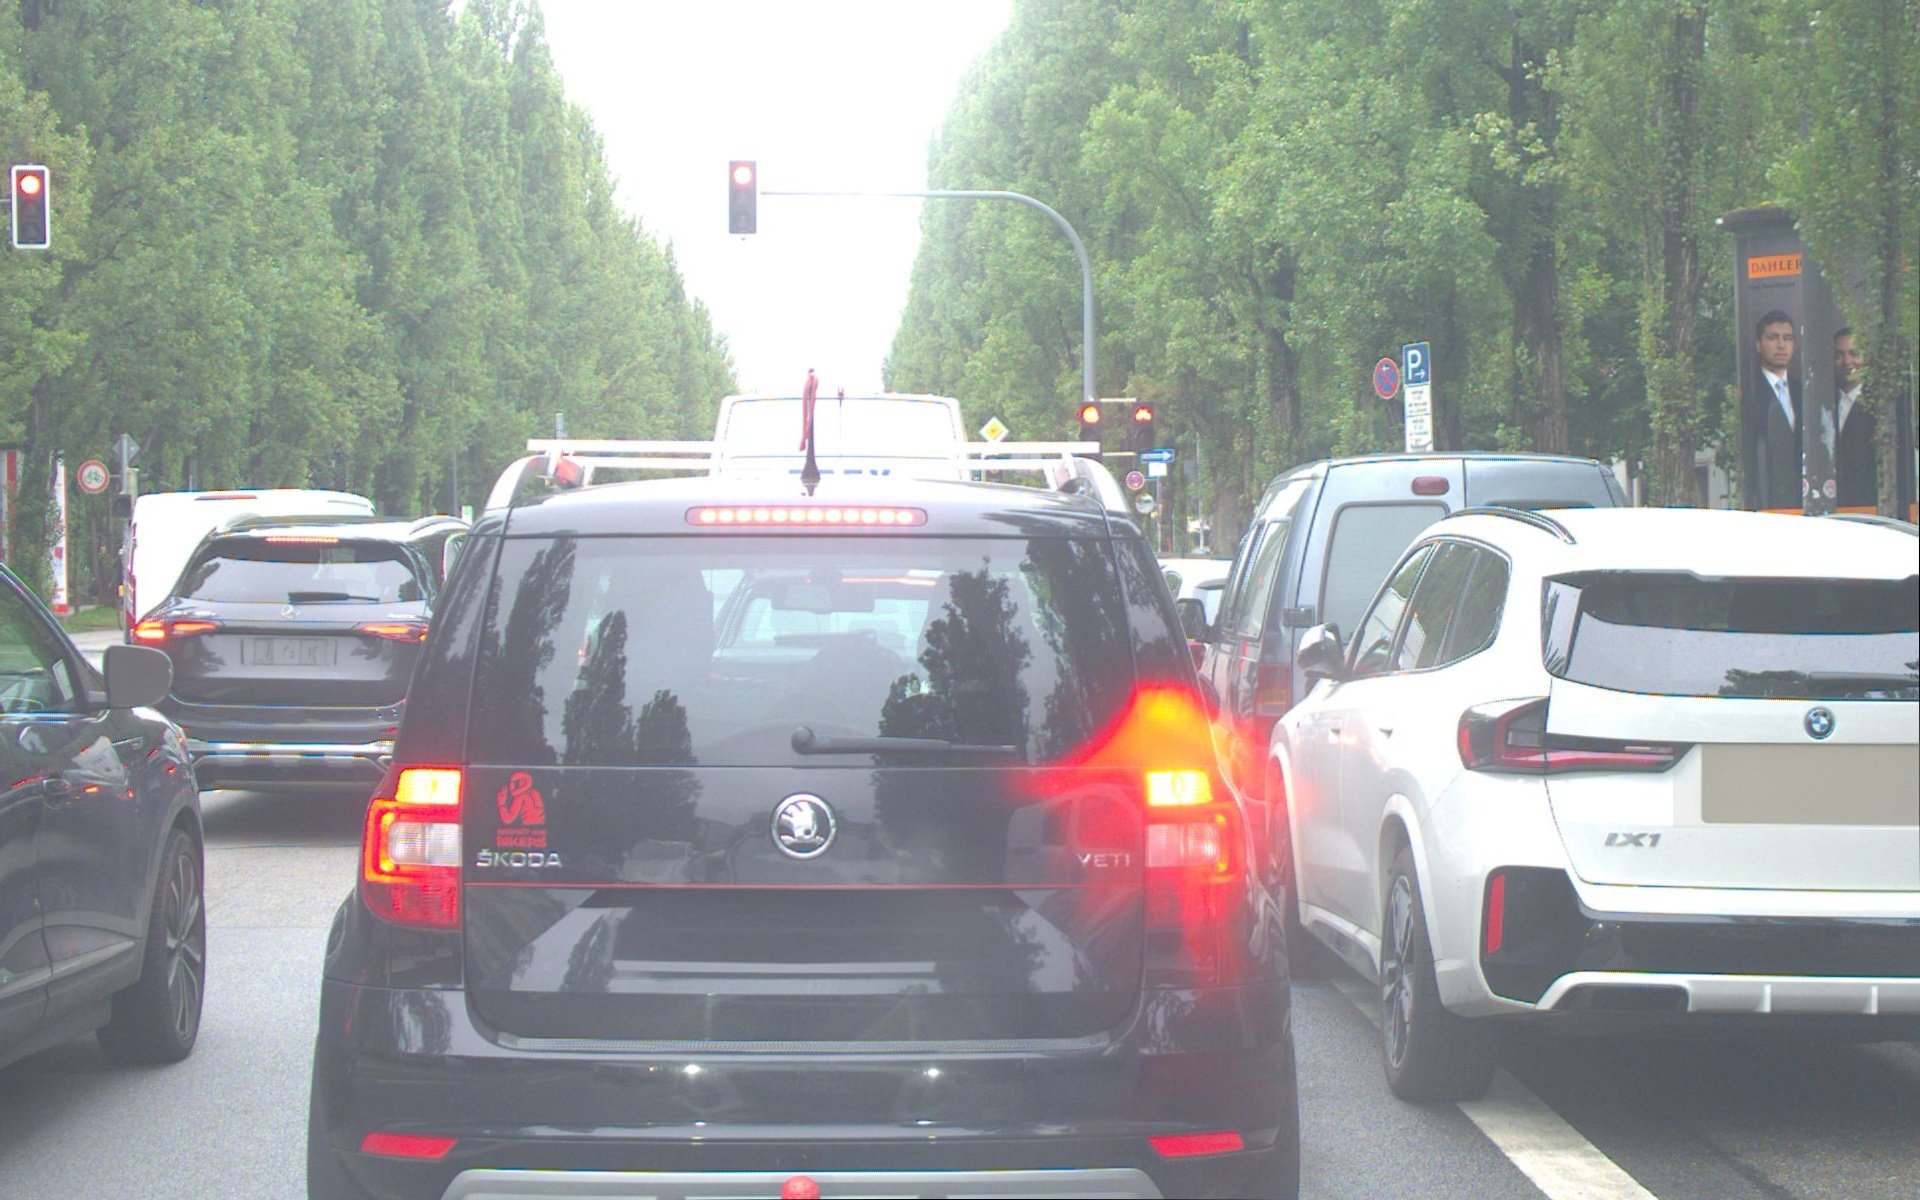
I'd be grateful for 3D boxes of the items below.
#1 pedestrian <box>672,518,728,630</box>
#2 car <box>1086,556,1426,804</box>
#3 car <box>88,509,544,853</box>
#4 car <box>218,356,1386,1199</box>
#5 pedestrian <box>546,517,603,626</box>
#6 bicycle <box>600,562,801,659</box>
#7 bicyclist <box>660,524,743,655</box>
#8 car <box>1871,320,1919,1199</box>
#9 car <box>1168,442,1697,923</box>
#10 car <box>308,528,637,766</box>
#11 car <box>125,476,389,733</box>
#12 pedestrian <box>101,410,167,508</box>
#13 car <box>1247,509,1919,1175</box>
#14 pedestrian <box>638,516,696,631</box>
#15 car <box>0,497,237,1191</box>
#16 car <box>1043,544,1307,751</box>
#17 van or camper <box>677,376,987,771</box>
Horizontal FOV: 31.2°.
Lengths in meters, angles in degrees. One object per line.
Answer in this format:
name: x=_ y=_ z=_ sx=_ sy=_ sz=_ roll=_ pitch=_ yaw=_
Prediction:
pedestrian: x=-4.716 y=-0.480 z=62.443 sx=0.885 sy=2.007 sz=1.013 roll=-1 pitch=1 yaw=2
car: x=1.784 y=0.442 z=21.746 sx=1.735 sy=1.382 sz=3.563 roll=-1 pitch=1 yaw=-2
car: x=-3.349 y=0.344 z=18.583 sx=1.781 sy=1.614 sz=4.025 roll=1 pitch=1 yaw=-2
car: x=-0.304 y=0.472 z=7.553 sx=1.855 sy=1.764 sz=4.000 roll=1 pitch=1 yaw=-1
pedestrian: x=-7.194 y=-0.533 z=64.207 sx=0.885 sy=2.007 sz=1.013 roll=-1 pitch=1 yaw=2
bicycle: x=-3.446 y=0.140 z=45.800 sx=2.536 sy=1.233 sz=0.812 roll=-1 pitch=1 yaw=9
bicyclist: x=-3.439 y=-0.146 z=45.783 sx=0.906 sy=1.716 sz=0.824 roll=-1 pitch=1 yaw=8
car: x=2.440 y=0.552 z=3.327 sx=1.851 sy=1.875 sz=4.169 roll=-1 pitch=1 yaw=-2
car: x=2.000 y=0.281 z=15.670 sx=1.735 sy=1.888 sz=4.025 roll=-1 pitch=1 yaw=-2
car: x=-3.490 y=0.274 z=25.312 sx=1.993 sy=1.555 sz=4.001 roll=-1 pitch=2 yaw=-2
car: x=-6.188 y=0.003 z=30.650 sx=1.781 sy=2.104 sz=4.025 roll=-1 pitch=1 yaw=-4
pedestrian: x=-15.125 y=-2.583 z=62.994 sx=0.880 sy=1.758 sz=0.878 roll=-1 pitch=1 yaw=8
car: x=1.974 y=0.531 z=10.398 sx=1.741 sy=1.587 sz=4.212 roll=-1 pitch=1 yaw=-1
pedestrian: x=-5.213 y=-0.475 z=61.274 sx=0.885 sy=2.007 sz=1.013 roll=-1 pitch=1 yaw=2
car: x=-3.098 y=0.532 z=8.348 sx=1.835 sy=1.580 sz=4.186 roll=1 pitch=1 yaw=-1
car: x=1.625 y=0.321 z=27.046 sx=1.735 sy=1.470 sz=3.563 roll=-1 pitch=1 yaw=-2
van or camper: x=-0.939 y=-0.221 z=24.348 sx=1.975 sy=2.539 sz=4.025 roll=-1 pitch=1 yaw=-3
